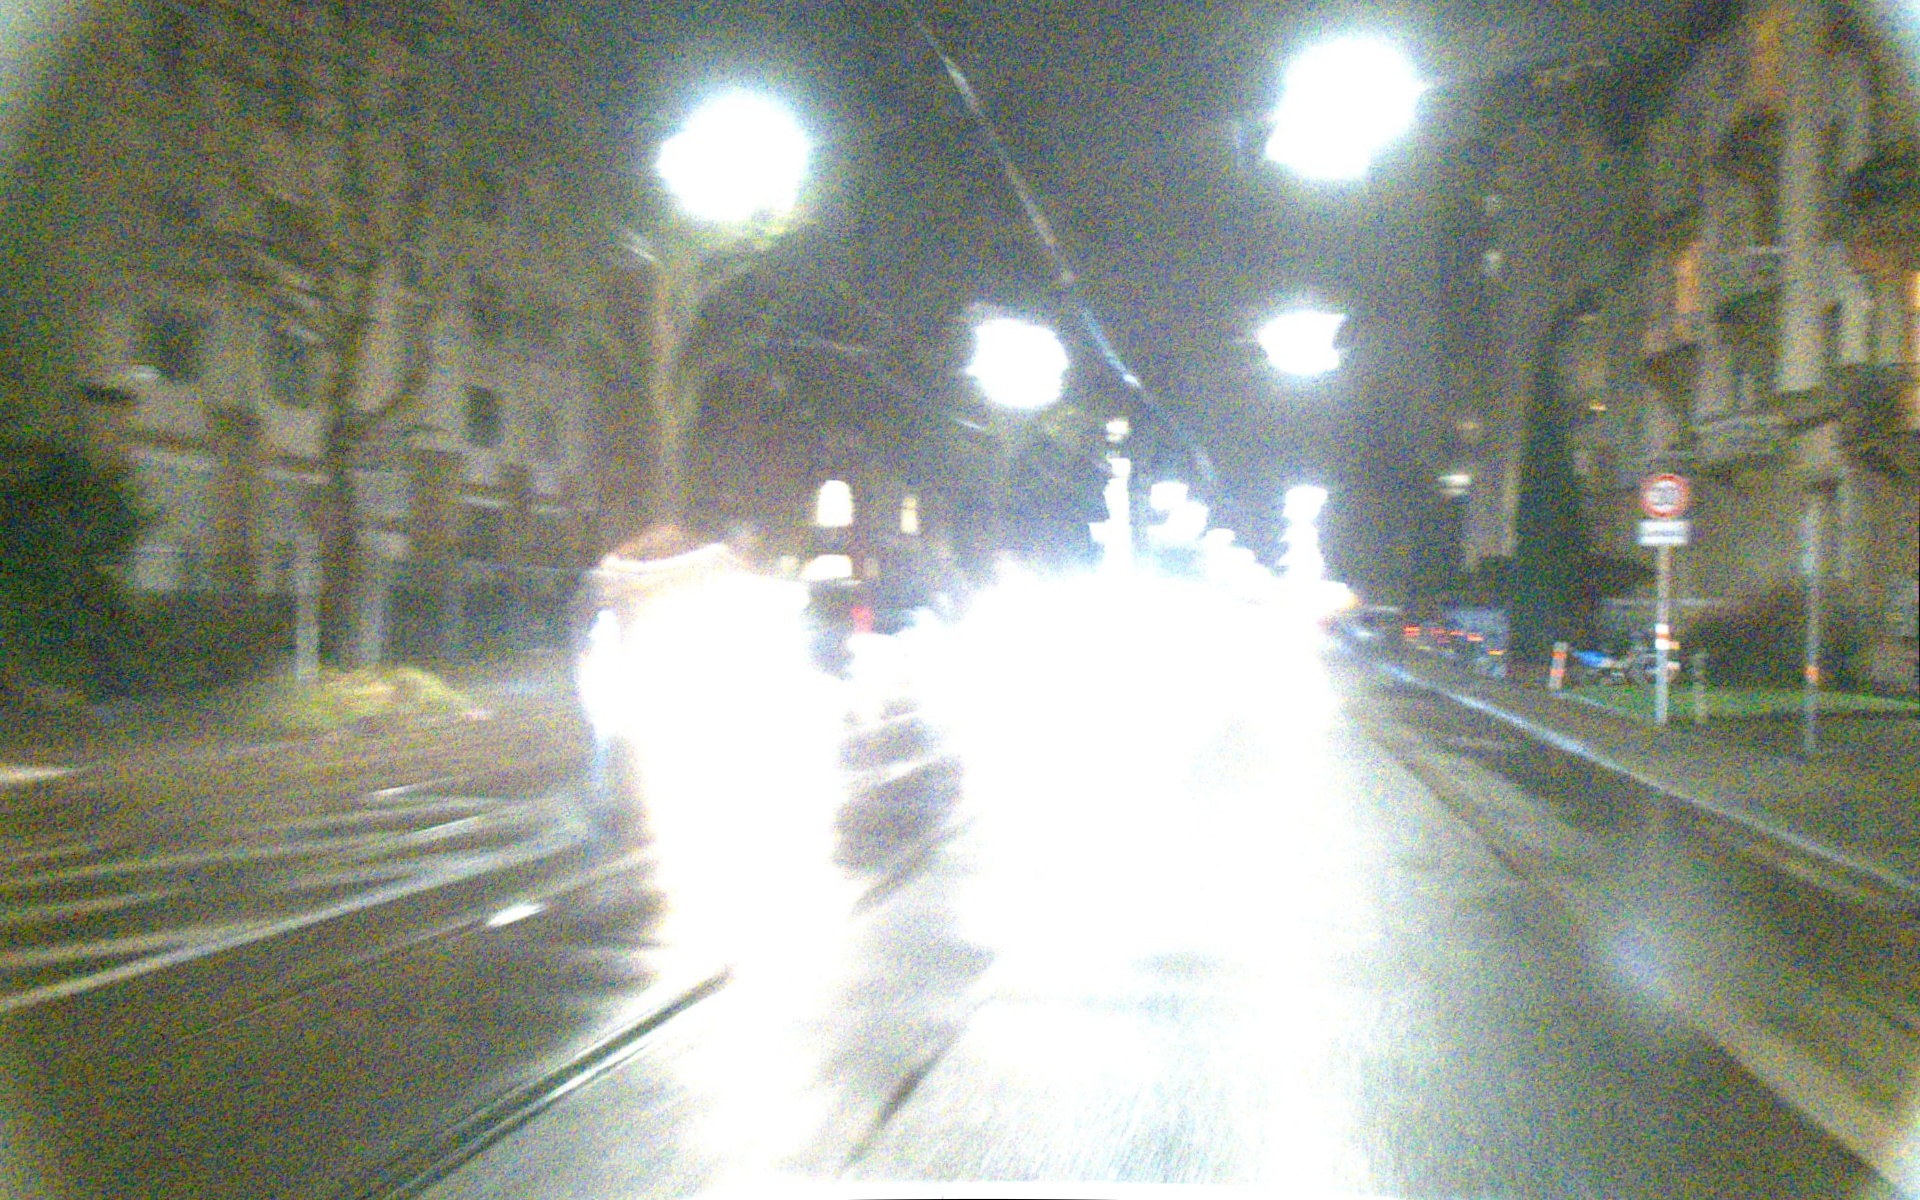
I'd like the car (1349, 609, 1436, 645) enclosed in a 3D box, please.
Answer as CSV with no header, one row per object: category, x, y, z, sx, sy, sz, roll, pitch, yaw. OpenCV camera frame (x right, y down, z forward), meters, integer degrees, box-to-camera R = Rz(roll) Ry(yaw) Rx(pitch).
car,20.006,1.256,76.445,3.739,1.483,1.752,3,0,-31

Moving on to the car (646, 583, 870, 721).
car,-2.956,0.758,25.317,1.854,1.902,4.539,0,-1,15

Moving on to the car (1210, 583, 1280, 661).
car,9.822,0.743,56.975,2.169,2.484,5.388,2,0,10

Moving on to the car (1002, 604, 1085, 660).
car,2.419,0.869,47.013,1.754,1.490,3.904,1,0,12

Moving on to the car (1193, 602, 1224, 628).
car,17.600,1.048,116.916,1.897,1.847,4.388,-1,0,12

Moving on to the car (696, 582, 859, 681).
car,-3.889,0.624,36.230,1.951,1.857,5.313,4,1,11

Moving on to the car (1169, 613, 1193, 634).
car,20.989,2.281,157.043,1.957,1.816,4.003,3,-1,11

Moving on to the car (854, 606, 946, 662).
car,-1.640,0.949,46.959,1.728,1.431,4.144,3,0,10

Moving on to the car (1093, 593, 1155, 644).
car,6.476,0.721,64.908,1.885,1.912,4.641,-1,0,12

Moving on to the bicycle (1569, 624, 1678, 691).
bicycle,12.317,1.064,30.750,1.775,1.184,0.493,-2,-2,10

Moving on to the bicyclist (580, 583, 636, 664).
bicyclist,-6.730,0.455,31.689,0.640,1.490,0.868,3,-1,15

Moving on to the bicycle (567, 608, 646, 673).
bicycle,-6.747,0.784,31.685,0.640,1.161,1.899,3,-1,15

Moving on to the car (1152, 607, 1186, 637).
car,10.855,1.135,85.655,1.616,1.505,4.209,0,0,9
